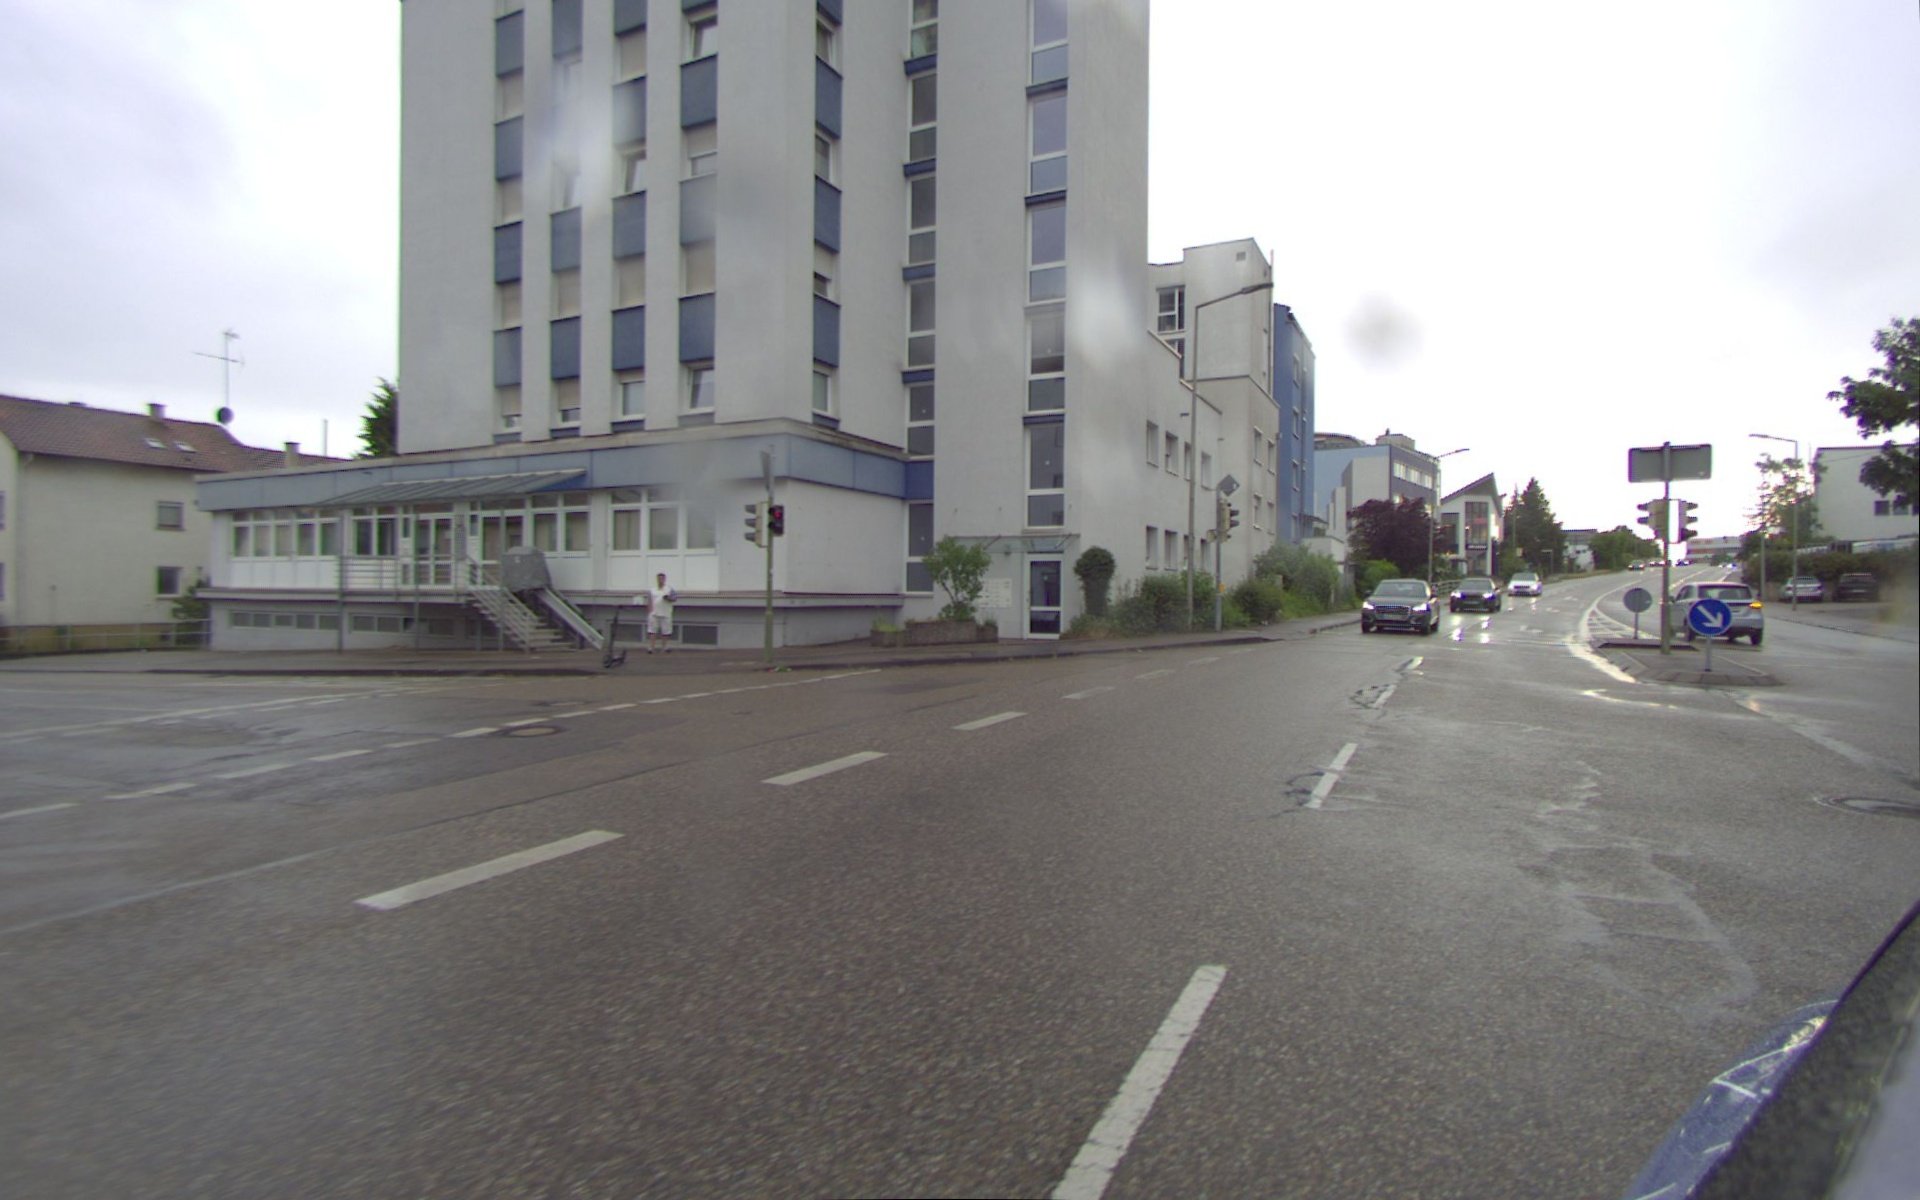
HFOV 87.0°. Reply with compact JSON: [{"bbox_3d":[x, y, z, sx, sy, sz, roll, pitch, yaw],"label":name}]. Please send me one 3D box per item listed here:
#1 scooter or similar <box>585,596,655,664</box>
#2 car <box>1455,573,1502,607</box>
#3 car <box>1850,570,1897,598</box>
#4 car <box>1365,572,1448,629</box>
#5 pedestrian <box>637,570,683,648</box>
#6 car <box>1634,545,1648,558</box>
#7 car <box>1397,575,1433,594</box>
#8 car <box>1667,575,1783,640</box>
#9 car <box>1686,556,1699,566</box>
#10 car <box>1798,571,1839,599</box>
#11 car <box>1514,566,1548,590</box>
[{"bbox_3d":[-6.627,0.577,19.774,0.790,1.243,1.057,-4,-1,16],"label":"scooter or similar"},{"bbox_3d":[23.793,-0.466,46.352,1.739,1.497,3.959,0,1,30],"label":"car"},{"bbox_3d":[50.478,-0.897,55.981,1.730,1.497,3.963,0,1,40],"label":"car"},{"bbox_3d":[12.974,-0.029,29.289,1.728,1.504,4.104,1,1,31],"label":"car"},{"bbox_3d":[-6.622,0.190,22.360,0.639,1.672,0.651,-4,-1,26],"label":"pedestrian"},{"bbox_3d":[121.706,-8.695,180.835,1.986,2.039,3.951,-4,-1,35],"label":"car"},{"bbox_3d":[32.252,-1.112,71.680,1.648,1.303,3.834,-1,1,34],"label":"car"},{"bbox_3d":[20.462,0.157,27.236,1.677,1.574,3.874,-2,1,25],"label":"car"},{"bbox_3d":[129.008,-6.827,178.239,1.819,1.708,3.949,1,1,35],"label":"car"},{"bbox_3d":[48.427,-0.852,57.124,1.730,1.497,3.963,0,1,40],"label":"car"},{"bbox_3d":[38.837,-1.484,68.823,1.885,1.564,3.976,0,1,32],"label":"car"}]
